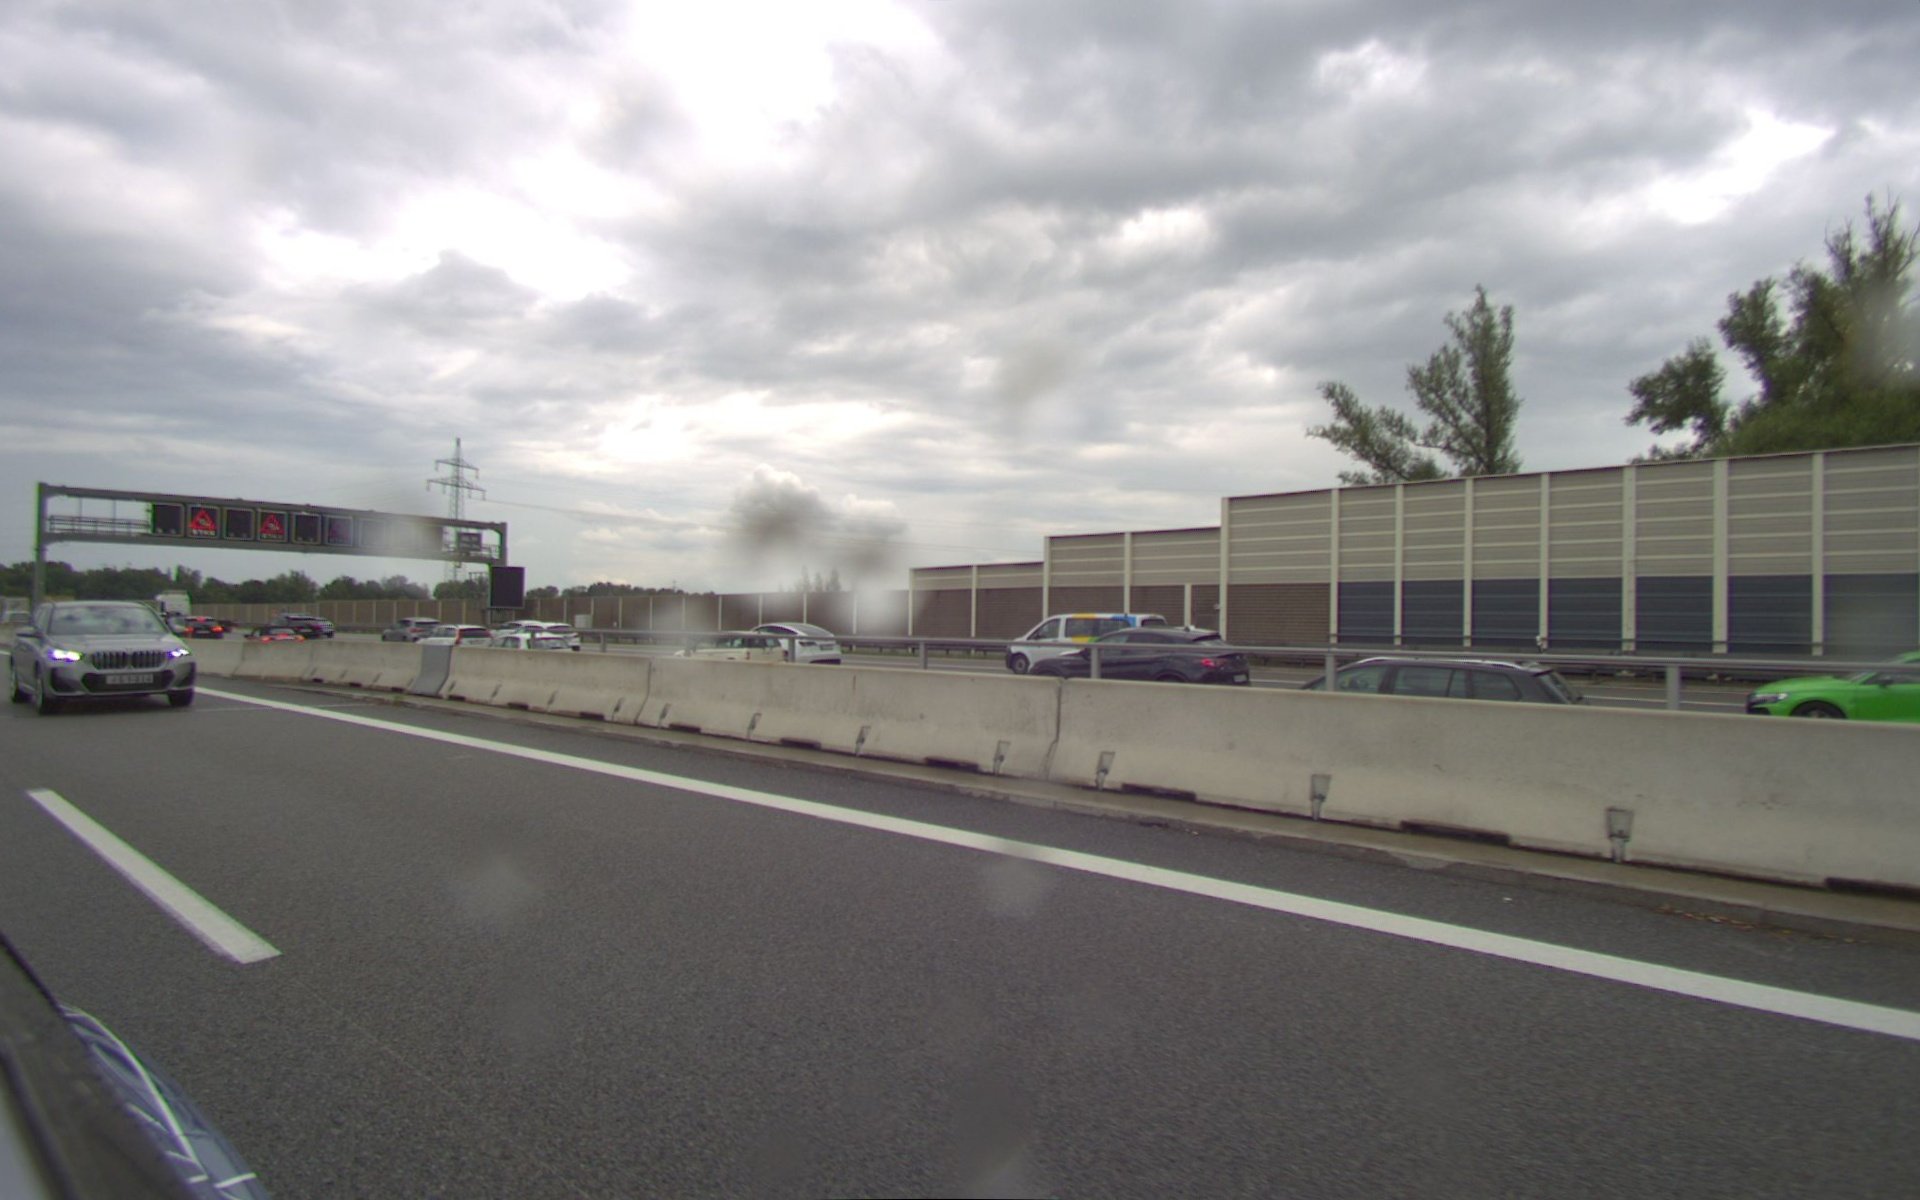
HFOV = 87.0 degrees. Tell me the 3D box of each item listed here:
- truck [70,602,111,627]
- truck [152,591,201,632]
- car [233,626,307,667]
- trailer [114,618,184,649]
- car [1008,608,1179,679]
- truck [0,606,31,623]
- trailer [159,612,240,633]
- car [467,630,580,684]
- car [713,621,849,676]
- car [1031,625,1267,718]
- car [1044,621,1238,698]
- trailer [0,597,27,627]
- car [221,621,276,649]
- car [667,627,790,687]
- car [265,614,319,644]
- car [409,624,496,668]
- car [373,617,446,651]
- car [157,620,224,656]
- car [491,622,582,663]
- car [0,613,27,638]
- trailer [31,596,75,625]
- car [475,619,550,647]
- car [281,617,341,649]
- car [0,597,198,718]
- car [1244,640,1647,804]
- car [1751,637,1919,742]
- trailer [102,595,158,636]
[{"bbox_3d":[-104.329,1.761,121.410,7.830,2.835,2.663,-1,-1,41],"label":"truck"},{"bbox_3d":[-77.378,1.204,99.939,6.047,3.917,2.724,-1,-2,41],"label":"truck"},{"bbox_3d":[-29.234,1.940,42.844,3.746,1.643,1.729,-1,-2,41],"label":"car"},{"bbox_3d":[-47.299,1.887,58.973,6.043,1.722,2.122,-1,-1,41],"label":"trailer"},{"bbox_3d":[3.819,1.219,29.509,4.779,1.908,1.729,-1,-2,40],"label":"car"},{"bbox_3d":[-110.344,1.700,118.087,5.540,2.015,2.221,-1,-1,40],"label":"truck"},{"bbox_3d":[-71.172,2.122,94.461,16.340,1.842,2.724,-1,-2,41],"label":"trailer"},{"bbox_3d":[-12.333,1.560,28.492,3.574,1.404,1.555,-1,-2,42],"label":"car"},{"bbox_3d":[-5.797,1.498,32.524,4.640,1.643,1.730,-1,-2,39],"label":"car"},{"bbox_3d":[3.639,1.313,19.899,4.176,1.623,1.914,-1,-2,42],"label":"car"},{"bbox_3d":[4.149,1.314,23.592,4.176,1.623,1.729,-1,-2,42],"label":"car"},{"bbox_3d":[-135.960,1.765,144.046,14.285,3.991,2.857,-1,0,40],"label":"trailer"},{"bbox_3d":[-41.530,2.021,59.033,3.872,1.590,1.665,-1,-2,40],"label":"car"},{"bbox_3d":[-6.616,1.571,28.759,3.618,1.592,1.603,-1,-2,42],"label":"car"},{"bbox_3d":[-42.568,1.829,64.442,4.162,1.862,1.730,-1,-2,40],"label":"car"},{"bbox_3d":[-20.265,1.800,40.339,4.165,1.643,1.728,-1,-2,43],"label":"car"},{"bbox_3d":[-28.456,1.731,52.273,4.523,1.643,1.803,-1,-2,40],"label":"car"},{"bbox_3d":[-39.465,1.897,51.862,5.109,1.758,1.860,-1,-2,43],"label":"car"},{"bbox_3d":[-17.986,1.749,42.899,4.388,1.643,1.730,-1,-2,40],"label":"car"},{"bbox_3d":[-87.399,2.296,92.767,5.510,2.254,2.207,-1,-1,41],"label":"car"},{"bbox_3d":[-129.366,1.564,144.278,12.967,3.963,2.997,-1,-1,41],"label":"trailer"},{"bbox_3d":[-23.904,1.745,53.996,4.569,1.411,1.845,-1,-2,39],"label":"car"},{"bbox_3d":[-35.093,1.757,54.668,4.165,1.643,1.728,-1,-2,43],"label":"car"},{"bbox_3d":[-13.790,0.824,16.026,4.912,1.637,1.817,-1,-1,41],"label":"car"},{"bbox_3d":[5.854,1.338,12.511,4.176,1.620,1.729,-1,-2,42],"label":"car"},{"bbox_3d":[14.546,1.298,14.755,4.711,1.441,1.730,-1,-2,40],"label":"car"},{"bbox_3d":[-65.296,1.237,79.580,6.047,3.162,2.424,-1,-2,41],"label":"trailer"}]
